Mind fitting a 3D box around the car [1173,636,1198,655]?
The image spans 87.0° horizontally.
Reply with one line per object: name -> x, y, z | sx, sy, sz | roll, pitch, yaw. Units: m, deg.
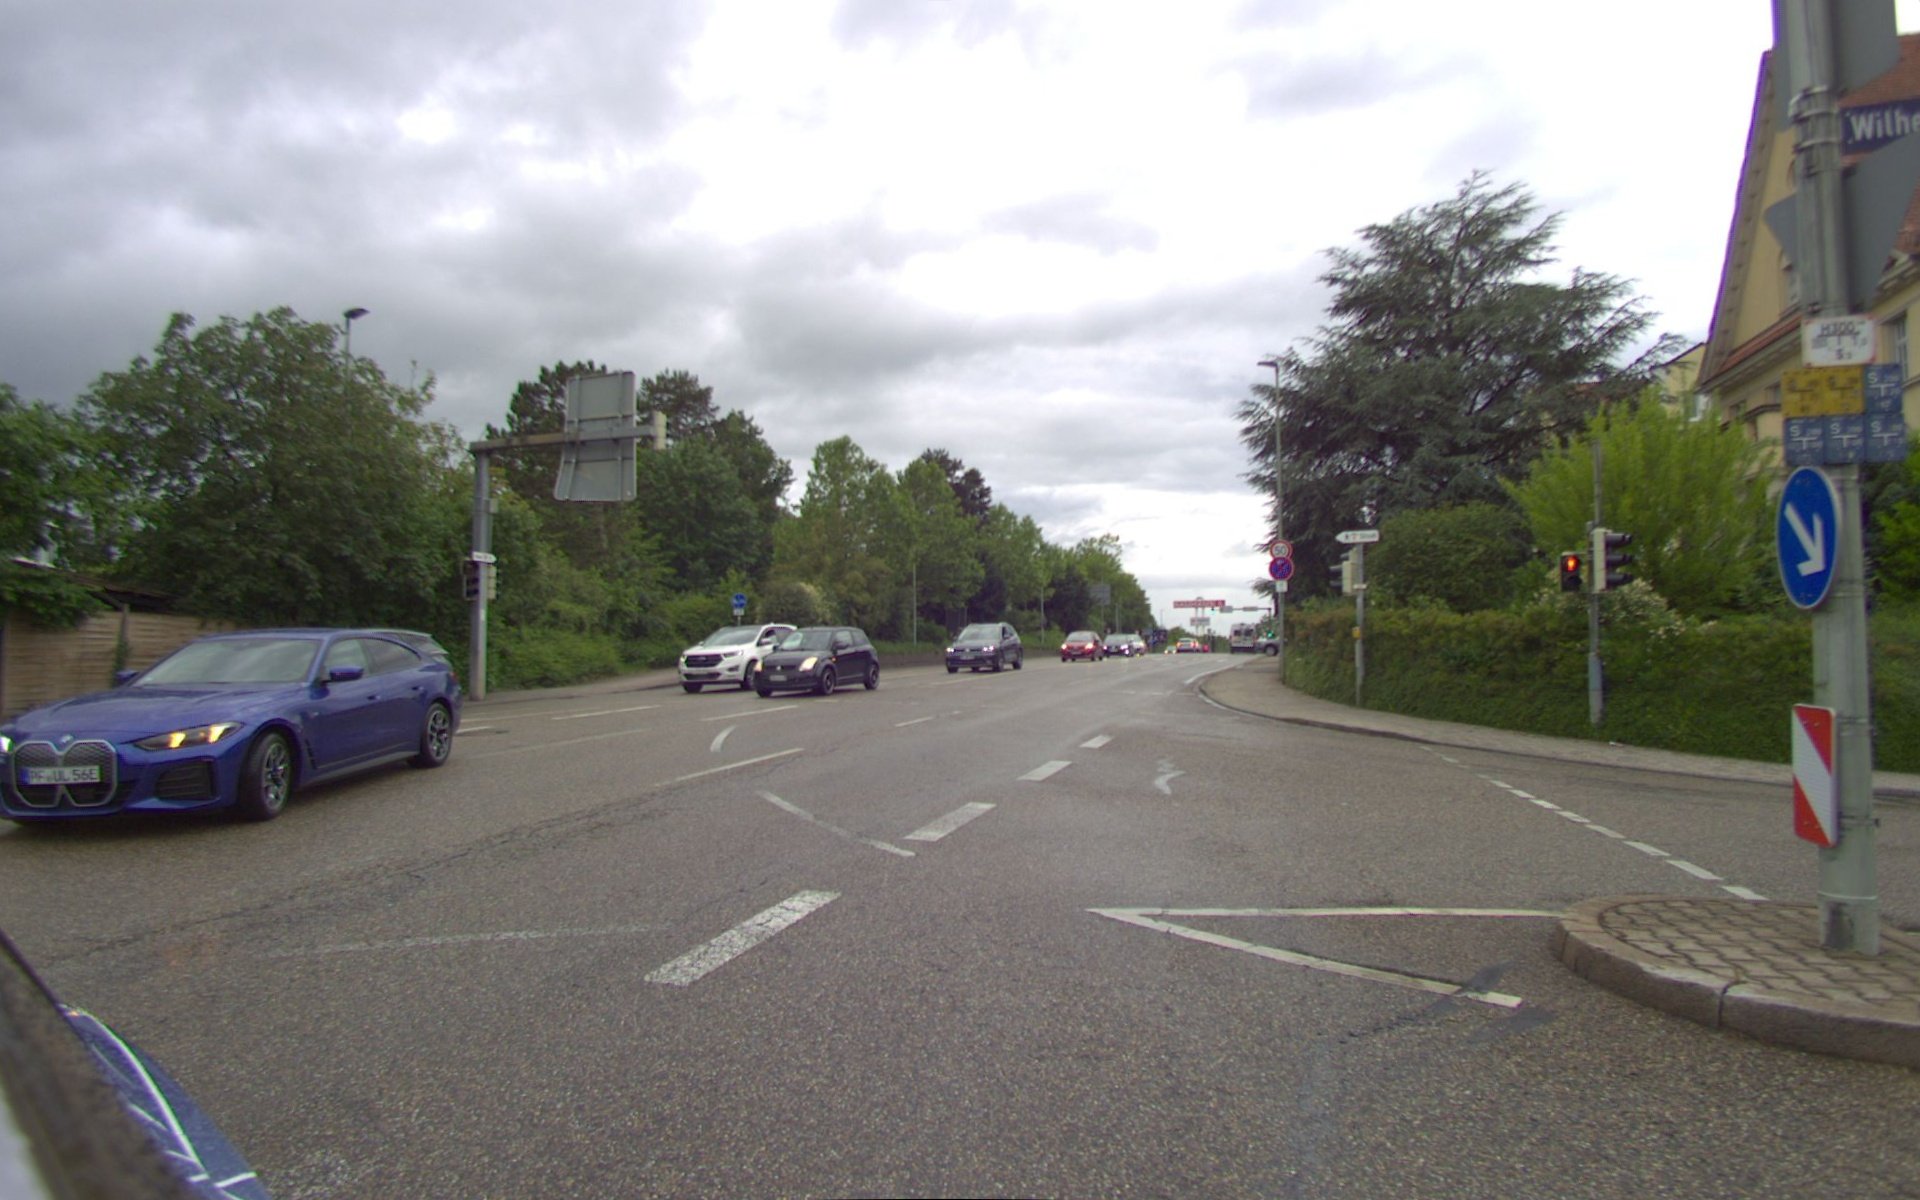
car -> 23.555, 4.759, 105.624 | 1.915, 1.731, 4.073 | -6, -3, 19

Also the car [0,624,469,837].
car -> -6.223, 0.944, 8.933 | 1.779, 1.418, 4.273 | 0, -2, -1

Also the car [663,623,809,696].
car -> -5.670, 1.490, 26.102 | 1.964, 1.634, 3.819 | -4, -2, 18

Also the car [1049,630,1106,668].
car -> 5.947, 2.438, 50.841 | 1.914, 1.731, 4.073 | -4, -3, 19

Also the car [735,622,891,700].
car -> -3.182, 1.341, 22.763 | 1.794, 1.564, 4.196 | -2, -3, 19

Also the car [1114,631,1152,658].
car -> 12.202, 3.088, 71.139 | 1.914, 1.731, 4.073 | -4, -3, 19

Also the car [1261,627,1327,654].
car -> 22.103, 2.672, 66.975 | 3.912, 1.664, 1.704 | -2, -2, 25

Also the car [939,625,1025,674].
car -> 0.823, 1.645, 34.335 | 1.794, 1.564, 3.975 | -2, -2, 19

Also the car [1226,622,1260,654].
car -> 23.438, 3.102, 83.681 | 2.287, 2.547, 5.737 | -1, -2, 19

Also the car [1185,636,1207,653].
car -> 26.582, 4.995, 113.868 | 1.915, 1.731, 4.073 | -6, -3, 19

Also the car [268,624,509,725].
car -> -10.406, 1.343, 18.763 | 1.691, 1.634, 3.821 | -3, -3, 16

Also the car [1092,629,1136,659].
car -> 9.426, 2.633, 61.557 | 1.914, 1.731, 4.073 | -2, -2, 19
